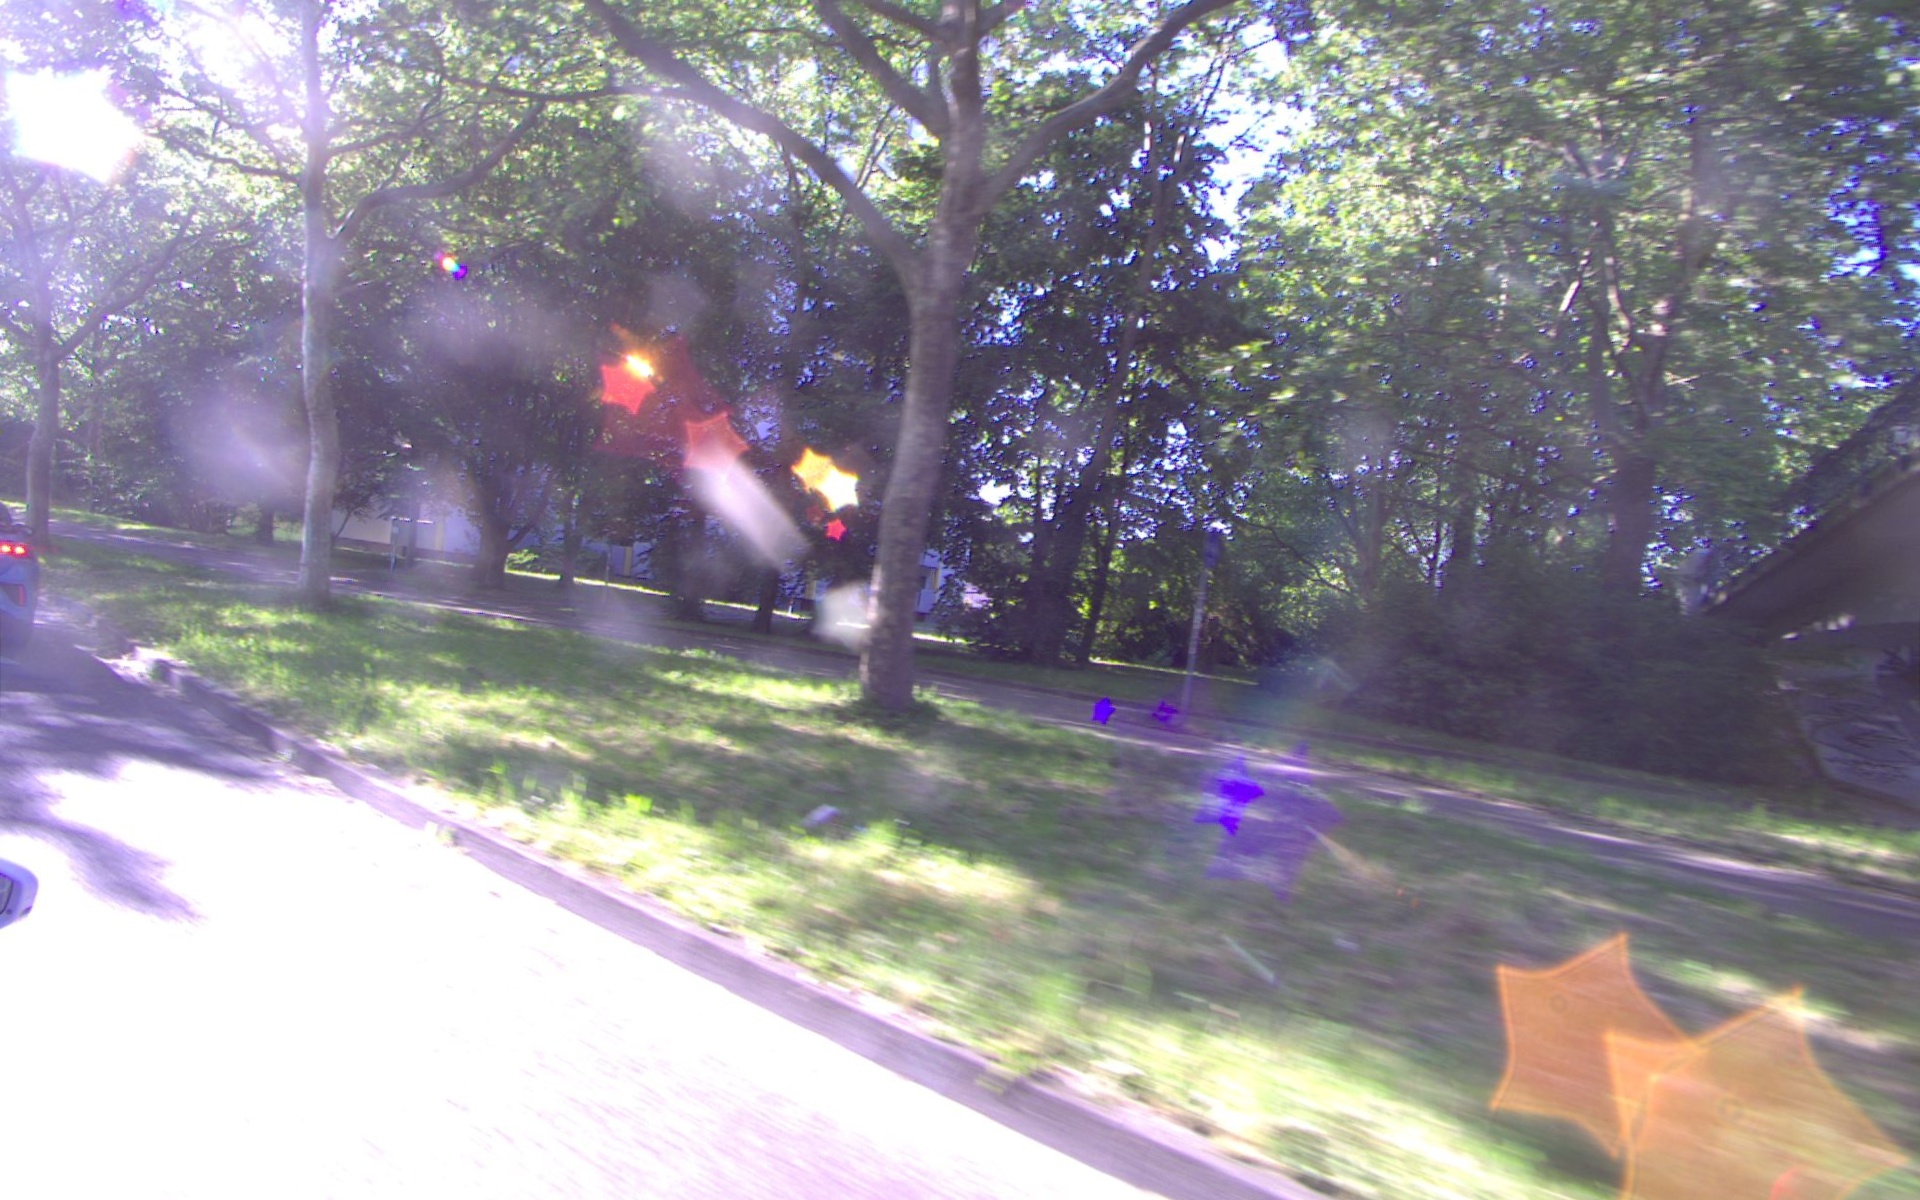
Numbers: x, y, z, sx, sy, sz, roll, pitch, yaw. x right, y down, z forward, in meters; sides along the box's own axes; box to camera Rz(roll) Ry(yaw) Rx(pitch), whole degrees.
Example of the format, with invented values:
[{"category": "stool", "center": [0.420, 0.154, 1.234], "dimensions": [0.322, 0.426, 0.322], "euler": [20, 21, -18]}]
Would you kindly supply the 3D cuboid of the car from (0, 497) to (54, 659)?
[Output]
[{"category": "car", "center": [-10.925, -0.437, 10.382], "dimensions": [4.043, 1.501, 1.774], "euler": [6, -2, 41]}]
